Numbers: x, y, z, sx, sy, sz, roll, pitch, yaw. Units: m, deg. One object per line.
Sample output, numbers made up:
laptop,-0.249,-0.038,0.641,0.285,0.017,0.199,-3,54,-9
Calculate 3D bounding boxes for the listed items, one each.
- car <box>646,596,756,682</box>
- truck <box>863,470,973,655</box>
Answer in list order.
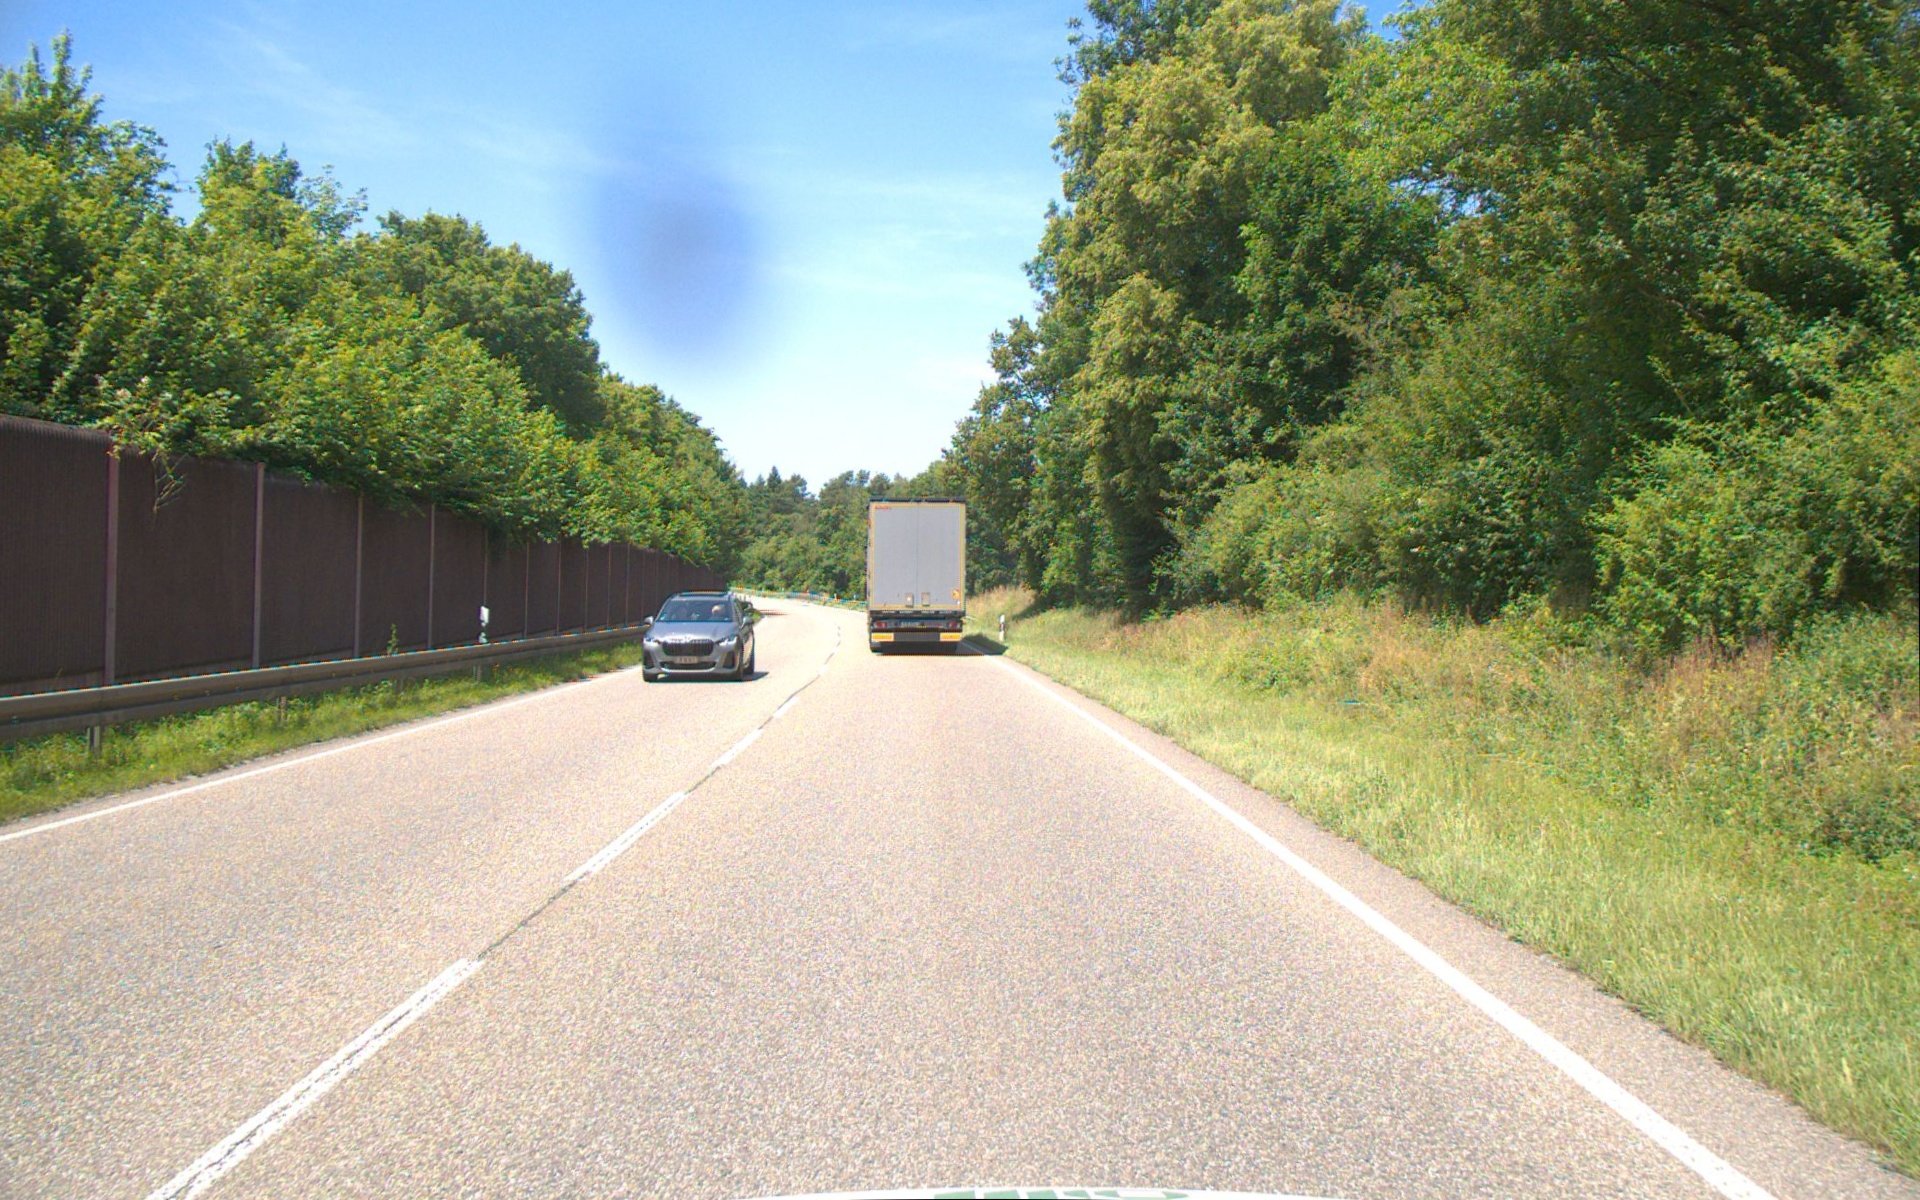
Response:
car,-4.787,0.693,30.965,1.584,1.518,3.615,0,0,-2
truck,-1.172,-0.902,45.293,2.766,4.685,6.662,0,-1,-2
